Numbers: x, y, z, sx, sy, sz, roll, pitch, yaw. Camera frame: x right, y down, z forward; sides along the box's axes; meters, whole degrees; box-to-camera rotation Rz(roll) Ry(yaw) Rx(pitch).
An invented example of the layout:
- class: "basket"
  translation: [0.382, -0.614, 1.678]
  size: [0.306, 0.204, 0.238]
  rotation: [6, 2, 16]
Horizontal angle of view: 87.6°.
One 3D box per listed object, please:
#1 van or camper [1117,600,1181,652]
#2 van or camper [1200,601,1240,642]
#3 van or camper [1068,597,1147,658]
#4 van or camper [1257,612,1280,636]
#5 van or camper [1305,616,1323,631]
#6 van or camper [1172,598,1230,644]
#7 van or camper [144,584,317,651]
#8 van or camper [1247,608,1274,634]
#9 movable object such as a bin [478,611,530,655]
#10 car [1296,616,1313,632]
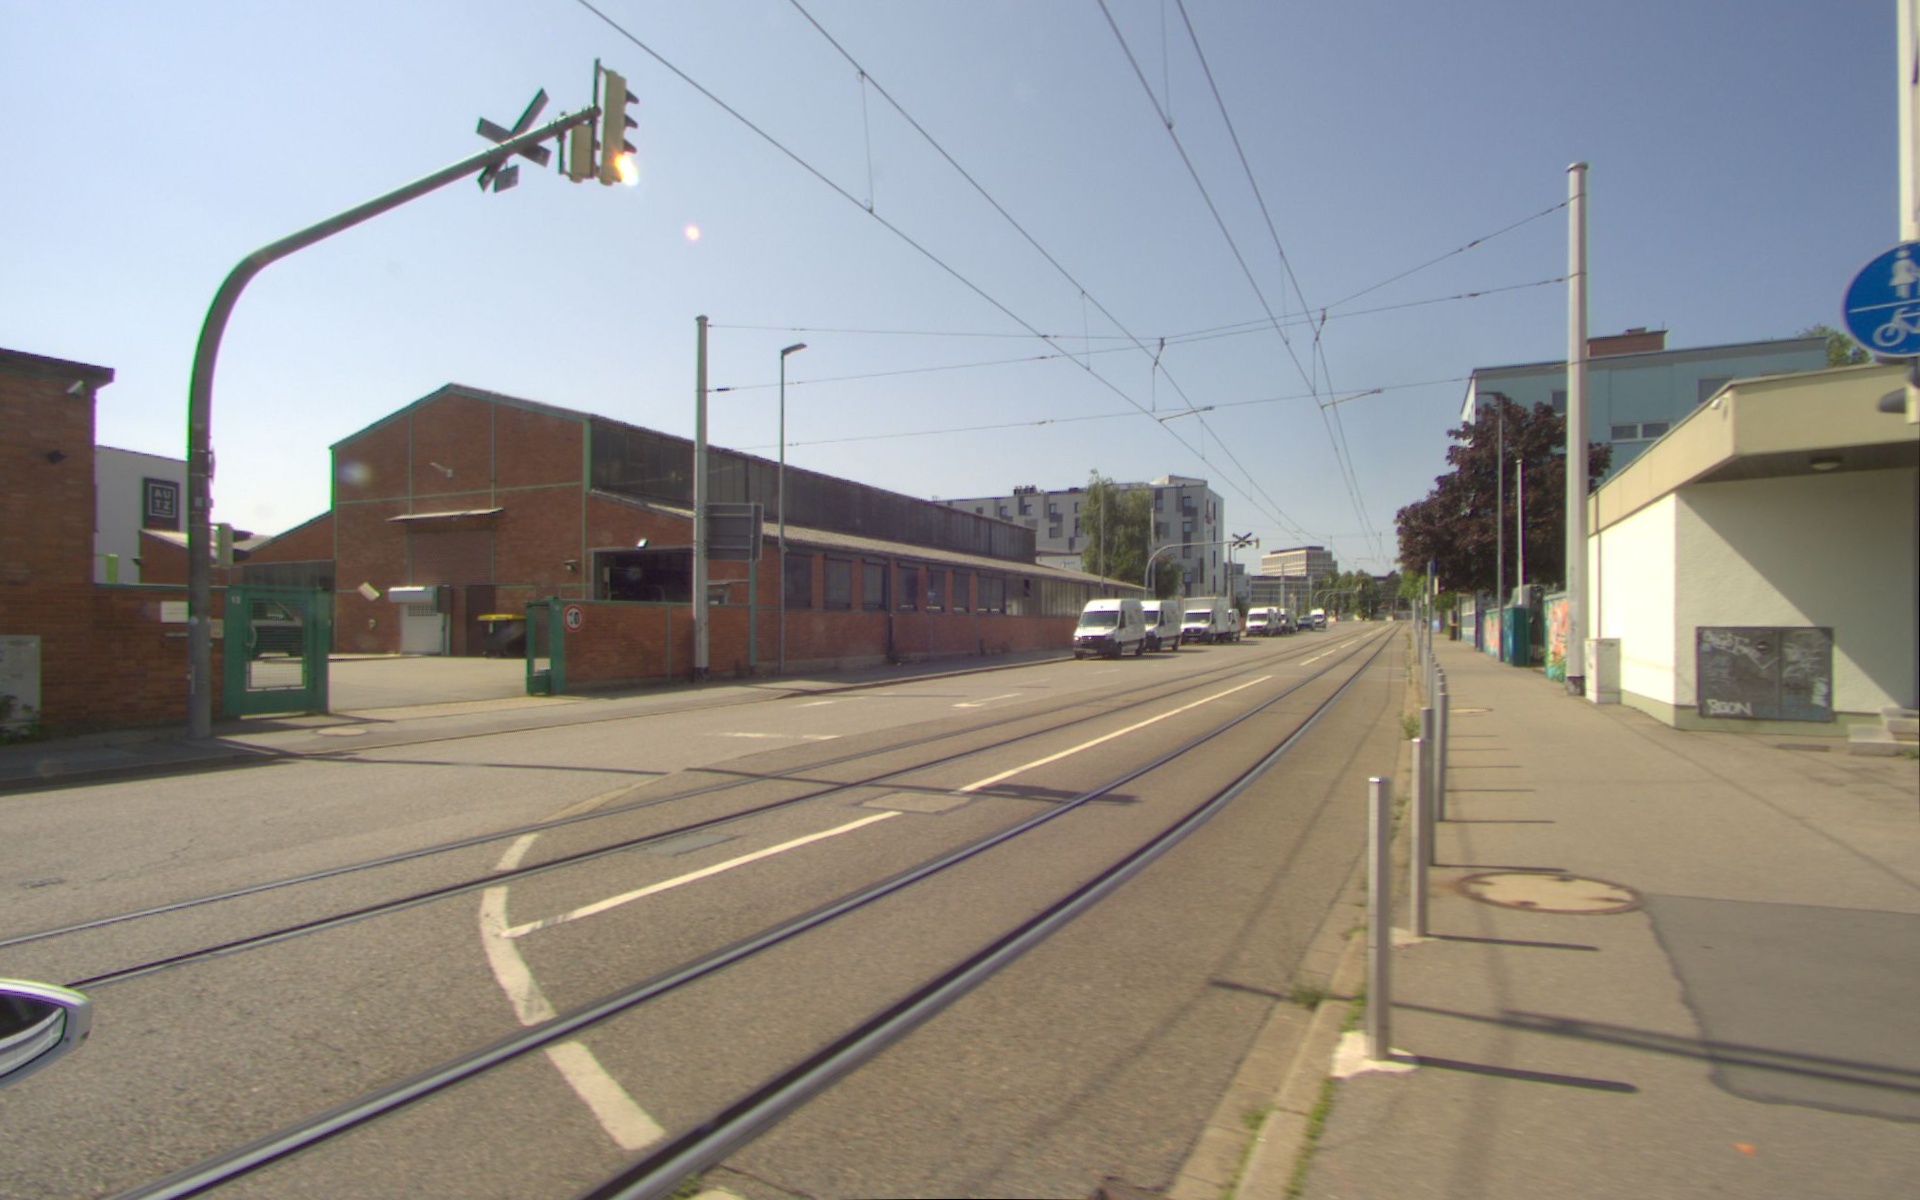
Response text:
- class: "van or camper"
  translation: [9.790, 1.321, 51.544]
  size: [2.010, 2.567, 5.566]
  rotation: [0, -1, 24]
- class: "van or camper"
  translation: [18.643, 1.566, 71.677]
  size: [2.141, 2.822, 4.719]
  rotation: [0, -1, 23]
- class: "van or camper"
  translation: [6.692, 1.209, 44.778]
  size: [2.010, 2.567, 5.852]
  rotation: [0, -1, 24]
- class: "van or camper"
  translation: [29.388, 2.306, 95.247]
  size: [1.795, 2.240, 4.415]
  rotation: [0, -1, 21]
- class: "van or camper"
  translation: [50.584, 3.328, 142.947]
  size: [1.968, 2.040, 3.987]
  rotation: [0, -1, 26]
- class: "van or camper"
  translation: [15.754, 1.337, 65.125]
  size: [2.482, 2.822, 7.097]
  rotation: [0, -1, 23]
- class: "van or camper"
  translation: [-23.345, 0.631, 32.305]
  size: [1.961, 1.923, 4.425]
  rotation: [1, -3, 7]
- class: "van or camper"
  translation: [26.476, 1.863, 88.266]
  size: [1.924, 2.240, 4.898]
  rotation: [0, -1, 21]
- class: "movable object such as a bin"
  translation: [-14.195, 1.008, 31.164]
  size: [1.133, 1.331, 0.974]
  rotation: [0, 0, 26]
- class: "car"
  translation: [44.625, 3.070, 129.712]
  size: [1.797, 2.040, 3.824]
  rotation: [-1, -1, 24]
